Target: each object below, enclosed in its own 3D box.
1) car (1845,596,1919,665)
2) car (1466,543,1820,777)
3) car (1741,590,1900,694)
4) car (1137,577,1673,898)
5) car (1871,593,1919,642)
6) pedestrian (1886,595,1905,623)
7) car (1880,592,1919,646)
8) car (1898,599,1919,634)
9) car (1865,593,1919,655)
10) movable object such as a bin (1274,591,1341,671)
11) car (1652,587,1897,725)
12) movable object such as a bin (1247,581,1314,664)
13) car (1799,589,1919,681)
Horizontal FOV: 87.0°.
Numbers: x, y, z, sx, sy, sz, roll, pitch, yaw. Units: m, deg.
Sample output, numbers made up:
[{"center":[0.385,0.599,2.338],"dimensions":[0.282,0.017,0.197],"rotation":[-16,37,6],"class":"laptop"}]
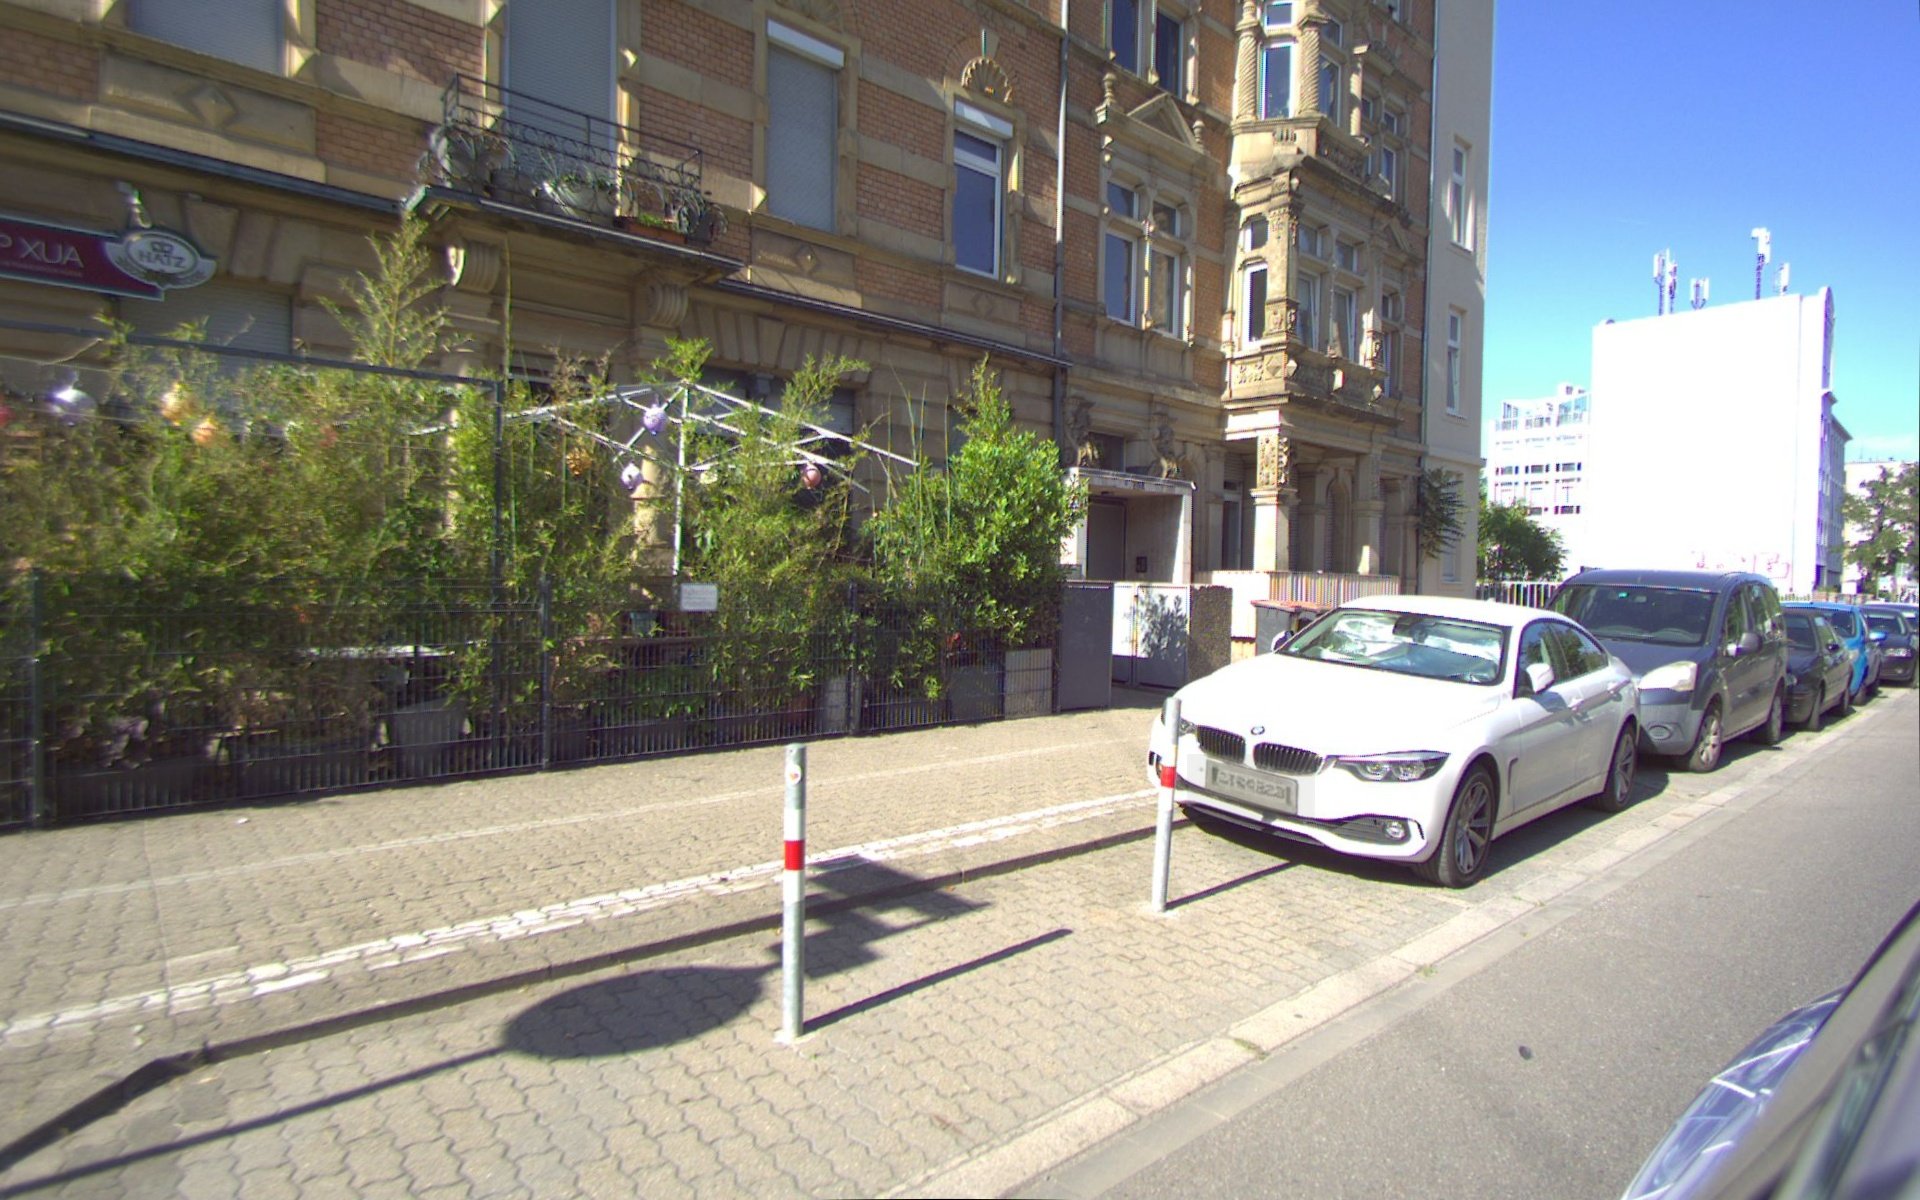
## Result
[{"center":[21.175,0.651,22.702],"dimensions":[3.712,1.411,1.670],"rotation":[0,1,-44],"class":"car"},{"center":[6.973,0.460,10.161],"dimensions":[4.286,1.867,1.823],"rotation":[0,1,-40],"class":"car"},{"center":[13.851,0.612,16.243],"dimensions":[3.243,1.489,1.623],"rotation":[1,0,-43],"class":"car"},{"center":[3.142,0.620,6.684],"dimensions":[4.134,1.443,1.712],"rotation":[0,2,-43],"class":"car"},{"center":[31.589,0.569,33.711],"dimensions":[1.669,1.477,3.923],"rotation":[6,4,43],"class":"car"},{"center":[53.154,0.501,57.503],"dimensions":[0.881,1.603,0.744],"rotation":[0,0,-43],"class":"pedestrian"},{"center":[28.319,0.583,29.707],"dimensions":[3.597,1.463,1.611],"rotation":[0,4,-44],"class":"car"},{"center":[35.071,0.625,36.440],"dimensions":[3.836,1.197,1.670],"rotation":[0,4,-44],"class":"car"},{"center":[25.090,0.610,26.681],"dimensions":[1.668,1.538,3.603],"rotation":[2,1,44],"class":"car"},{"center":[5.370,0.455,15.649],"dimensions":[0.598,1.171,0.760],"rotation":[-3,2,-40],"class":"movable object such as a bin"},{"center":[10.477,0.607,12.915],"dimensions":[4.198,1.486,1.671],"rotation":[0,0,-40],"class":"car"},{"center":[4.743,0.314,14.995],"dimensions":[0.598,1.171,0.723],"rotation":[-3,2,-40],"class":"movable object such as a bin"},{"center":[17.741,0.610,19.488],"dimensions":[4.409,1.538,1.937],"rotation":[0,1,-44],"class":"car"}]
